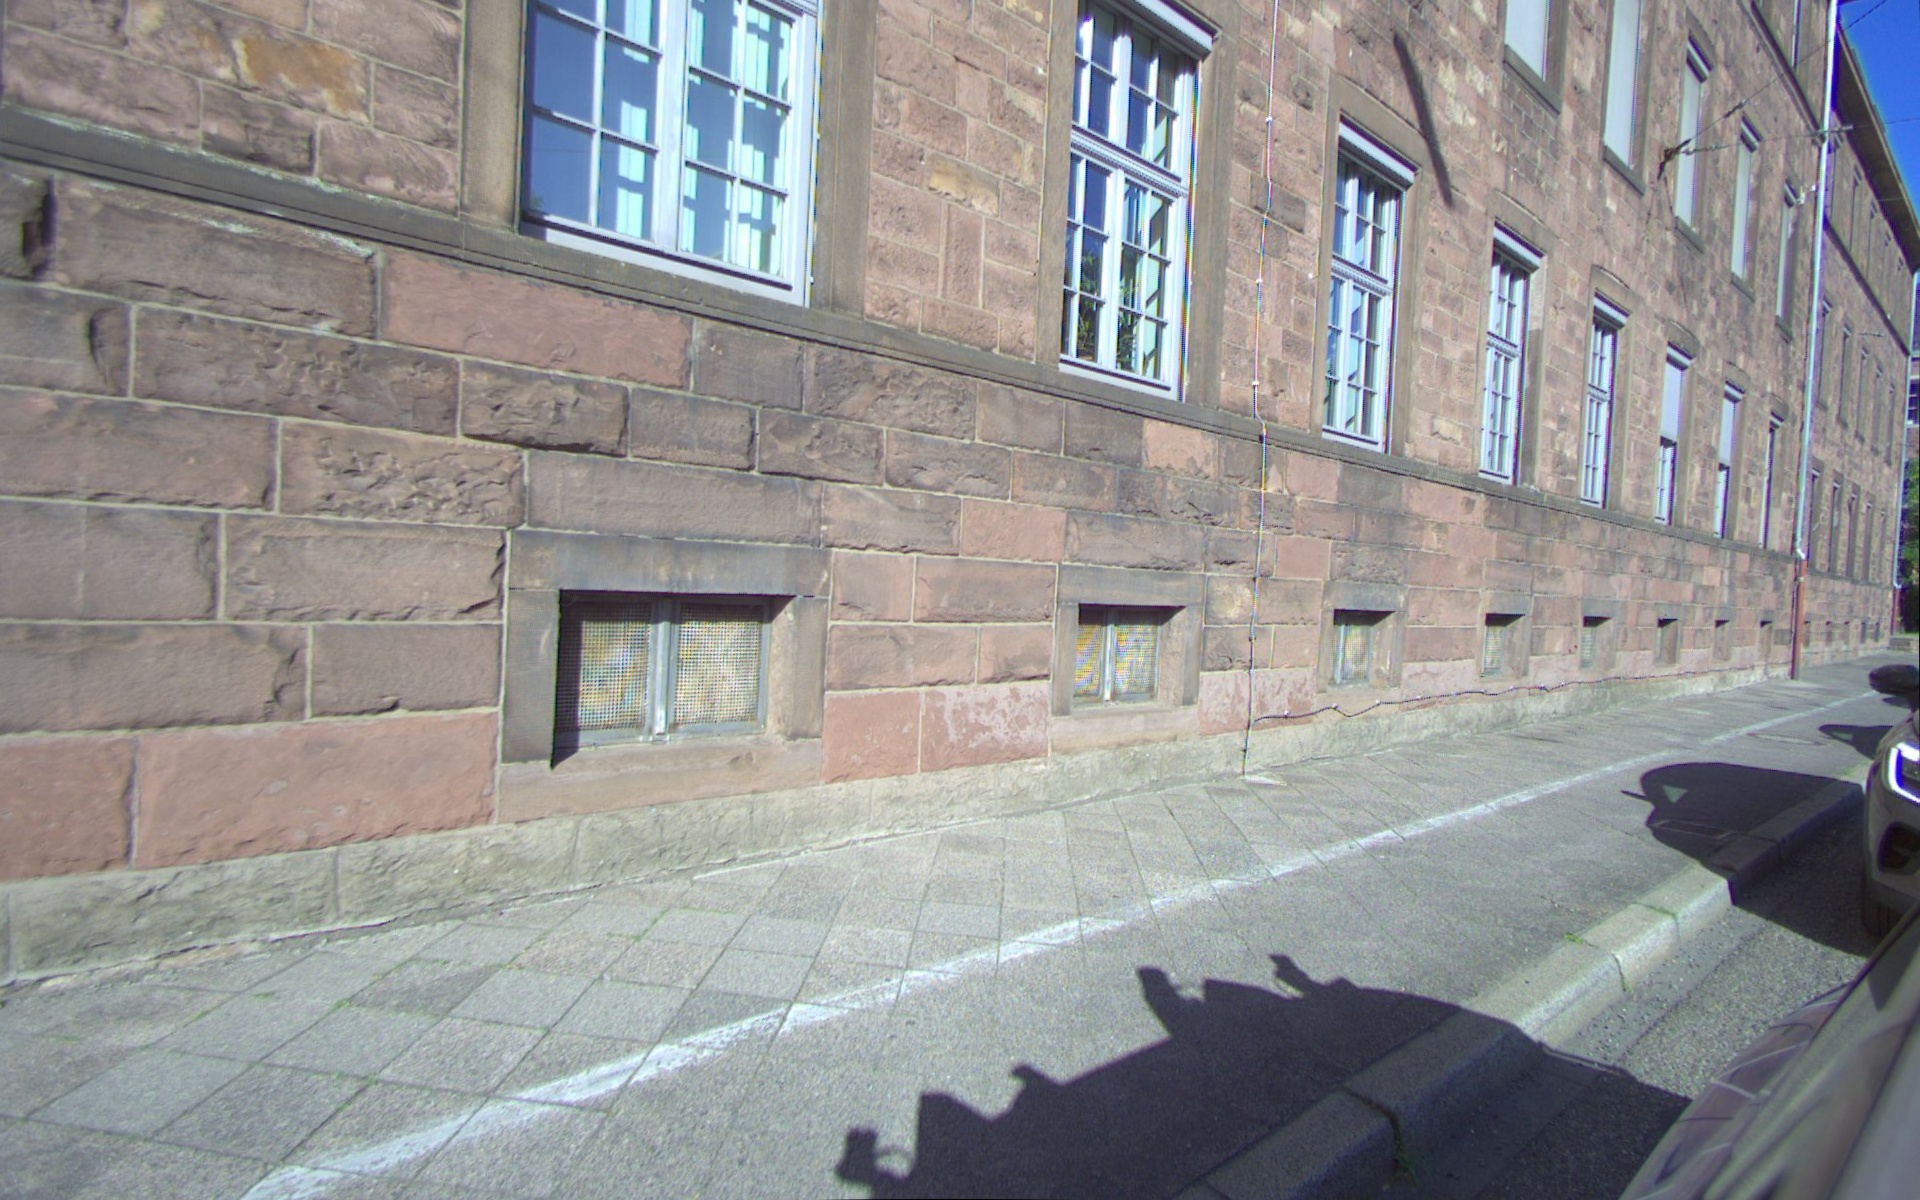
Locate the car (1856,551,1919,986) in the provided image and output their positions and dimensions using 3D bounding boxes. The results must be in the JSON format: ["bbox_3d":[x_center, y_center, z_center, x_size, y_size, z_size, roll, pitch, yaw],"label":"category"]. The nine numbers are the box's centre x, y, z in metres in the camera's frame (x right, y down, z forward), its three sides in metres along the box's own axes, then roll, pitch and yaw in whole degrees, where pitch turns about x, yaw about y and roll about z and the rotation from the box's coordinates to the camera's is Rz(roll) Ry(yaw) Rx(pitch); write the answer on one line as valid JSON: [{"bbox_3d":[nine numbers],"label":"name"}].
[{"bbox_3d":[5.442,0.667,4.522,3.735,1.624,1.793,1,1,-43],"label":"car"}]
